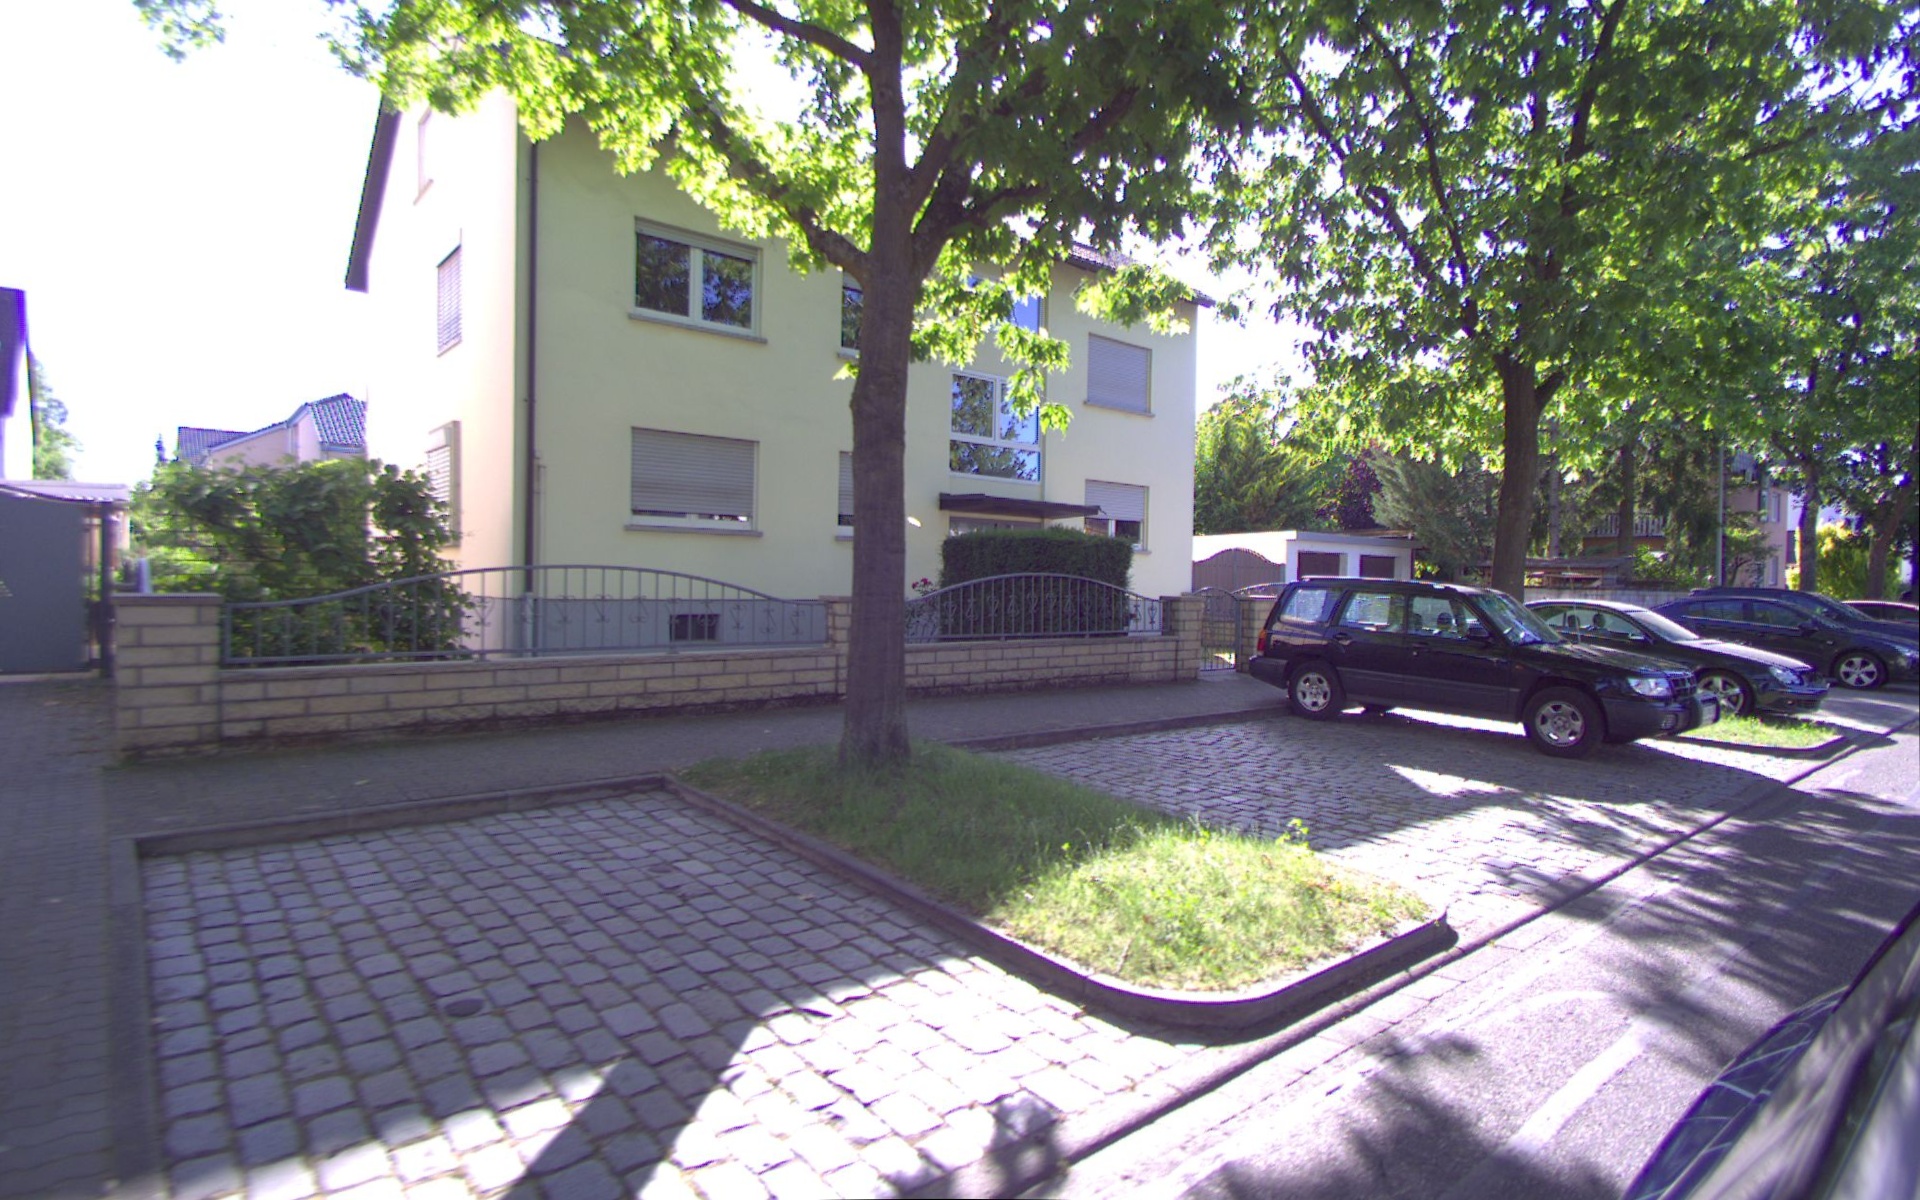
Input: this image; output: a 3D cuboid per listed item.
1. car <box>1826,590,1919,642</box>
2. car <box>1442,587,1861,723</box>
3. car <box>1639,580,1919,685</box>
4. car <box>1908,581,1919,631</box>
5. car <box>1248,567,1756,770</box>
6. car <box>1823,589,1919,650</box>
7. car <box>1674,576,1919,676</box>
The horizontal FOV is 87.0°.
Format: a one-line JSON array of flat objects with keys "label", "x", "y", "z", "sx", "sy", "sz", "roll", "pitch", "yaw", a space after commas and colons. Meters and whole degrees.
[{"label": "car", "x": 29.531, "y": 0.541, "z": 30.794, "sx": 1.804, "sy": 1.463, "sz": 4.516, "roll": 0, "pitch": 3, "yaw": -38}, {"label": "car", "x": 9.295, "y": 0.613, "z": 13.988, "sx": 1.659, "sy": 1.347, "sz": 4.442, "roll": 0, "pitch": 3, "yaw": -37}, {"label": "car", "x": 15.193, "y": 0.510, "z": 18.417, "sx": 1.808, "sy": 1.548, "sz": 4.330, "roll": 0, "pitch": 3, "yaw": -40}, {"label": "car", "x": 36.724, "y": 0.355, "z": 35.907, "sx": 1.757, "sy": 1.803, "sz": 4.224, "roll": 0, "pitch": 3, "yaw": -38}, {"label": "car", "x": 5.469, "y": 0.519, "z": 10.712, "sx": 1.835, "sy": 1.579, "sz": 4.347, "roll": 0, "pitch": 3, "yaw": -41}, {"label": "car", "x": 26.136, "y": 0.546, "z": 27.505, "sx": 1.724, "sy": 1.502, "sz": 3.789, "roll": -1, "pitch": 4, "yaw": -38}, {"label": "car", "x": 17.299, "y": 0.465, "z": 20.236, "sx": 1.805, "sy": 1.666, "sz": 4.585, "roll": 0, "pitch": 3, "yaw": -39}]
